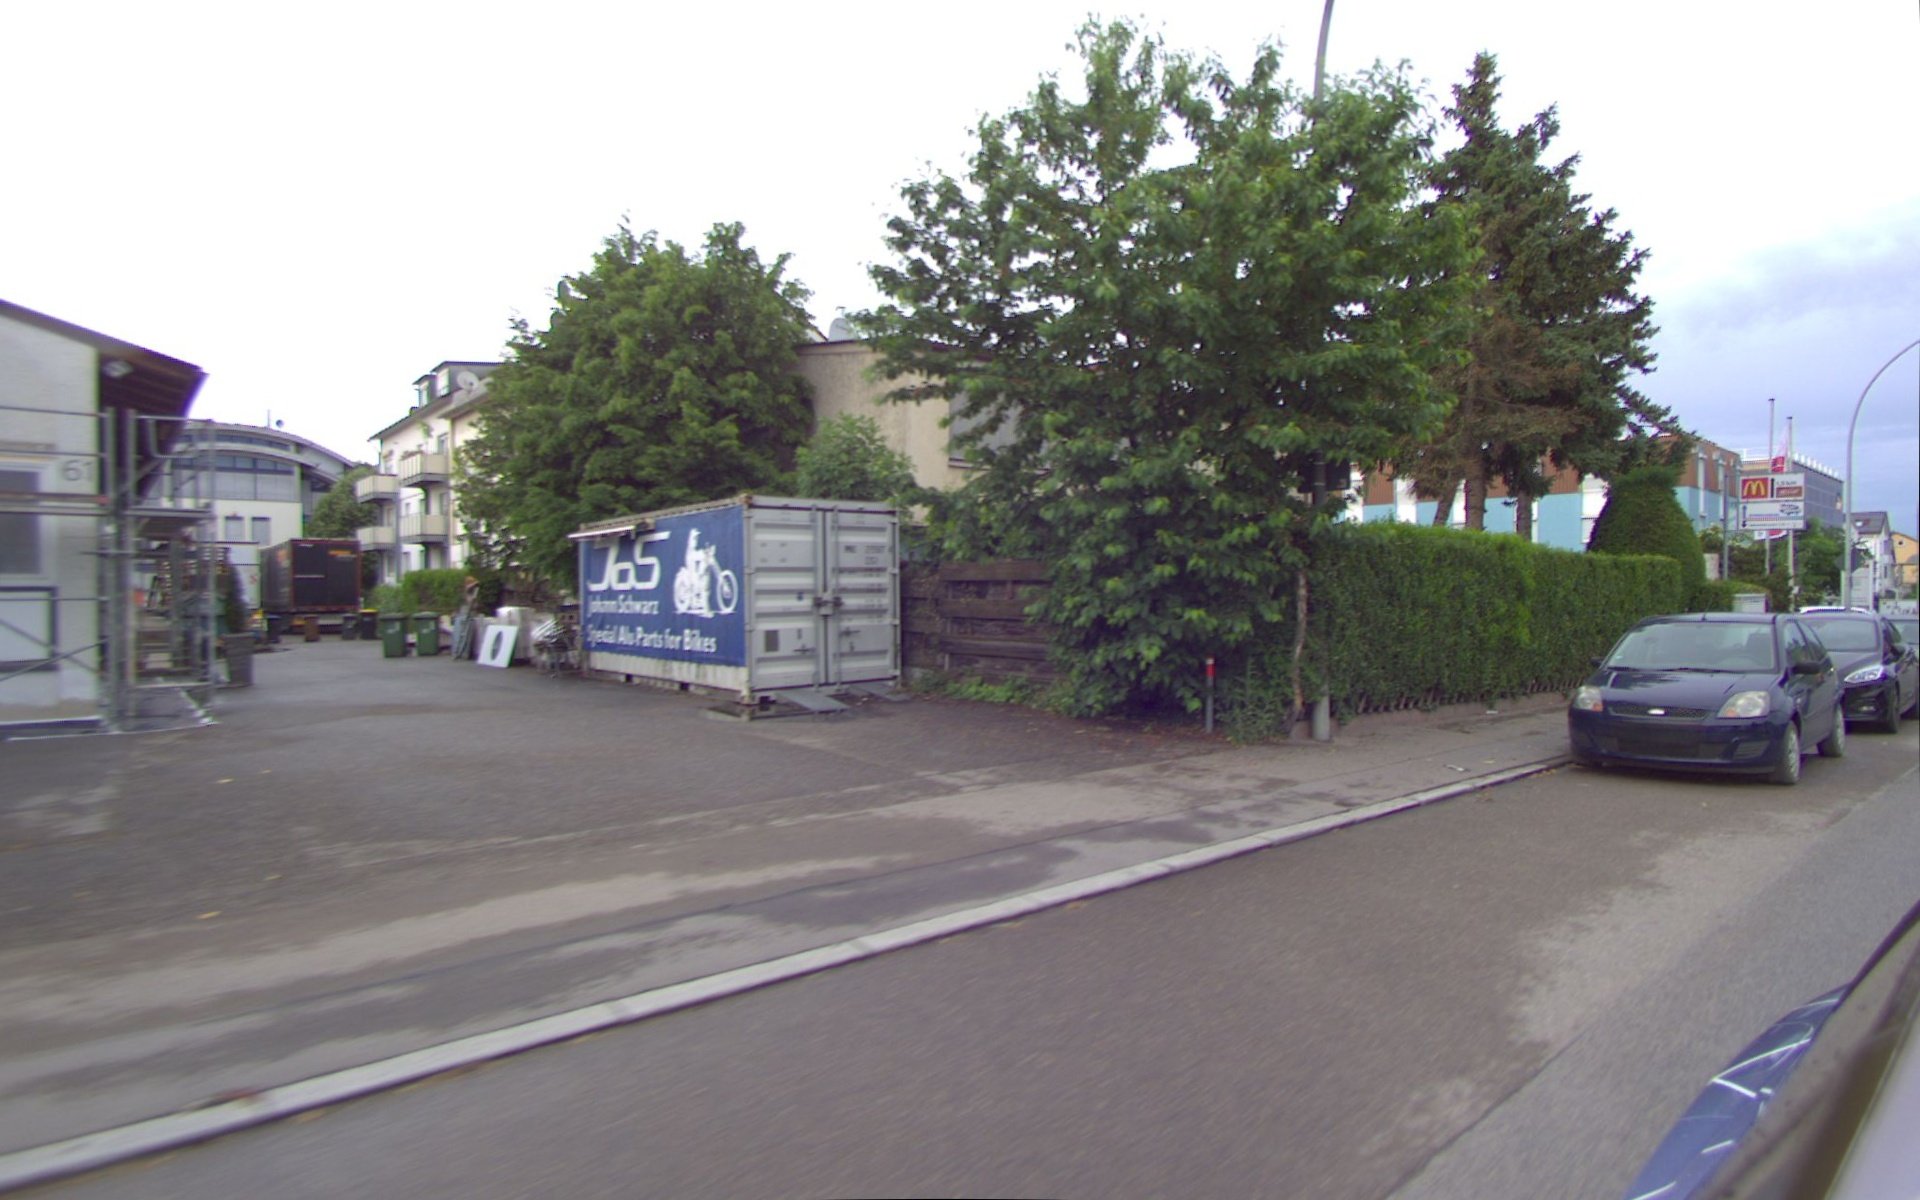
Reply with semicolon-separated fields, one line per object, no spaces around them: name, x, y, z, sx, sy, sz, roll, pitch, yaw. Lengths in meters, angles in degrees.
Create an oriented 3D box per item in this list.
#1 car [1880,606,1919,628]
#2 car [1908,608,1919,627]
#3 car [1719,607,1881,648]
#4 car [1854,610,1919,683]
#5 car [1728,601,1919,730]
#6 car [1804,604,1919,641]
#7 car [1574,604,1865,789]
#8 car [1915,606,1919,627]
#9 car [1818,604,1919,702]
car;64.566;1.133;67.941;1.602;1.449;3.993;0;0;-41
car;80.621;1.446;82.989;1.800;1.509;3.975;0;0;-39
car;28.900;0.916;34.902;1.915;1.282;3.996;0;-1;-38
car;19.369;0.887;20.383;4.023;1.358;1.591;0;-2;-43
car;11.676;0.779;13.432;3.763;1.468;1.659;1;-1;-42
car;38.943;0.924;43.135;1.870;1.494;4.345;0;0;-41
car;7.432;0.781;9.779;3.740;1.457;1.489;0;-1;-41
car;82.526;1.373;84.240;1.947;1.696;4.232;0;-1;-41
car;15.897;0.800;17.061;4.697;1.437;1.658;0;-1;-43
